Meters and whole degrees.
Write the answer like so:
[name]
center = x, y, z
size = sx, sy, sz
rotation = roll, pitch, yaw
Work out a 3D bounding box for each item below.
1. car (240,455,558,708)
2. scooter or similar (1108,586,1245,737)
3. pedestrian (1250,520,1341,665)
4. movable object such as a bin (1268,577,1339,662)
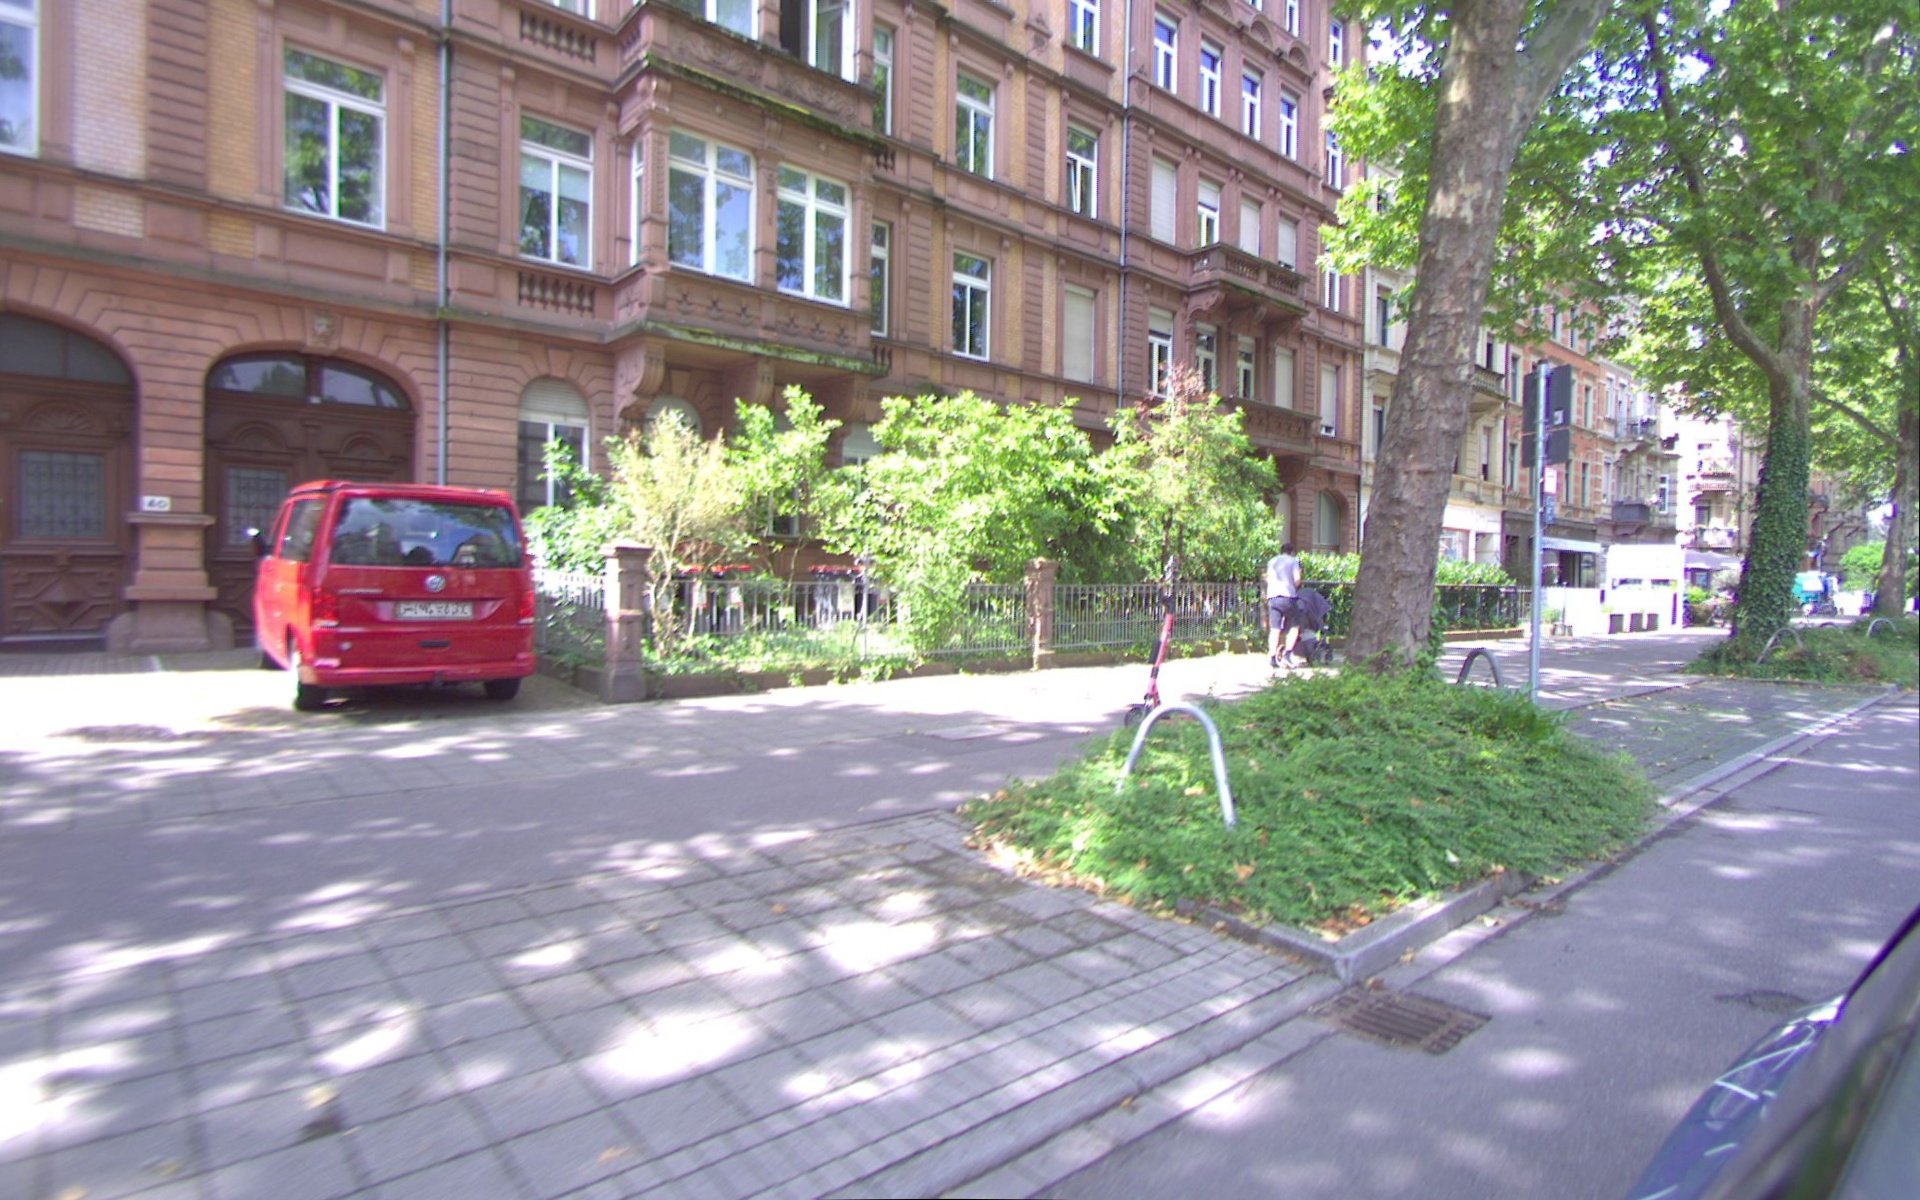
[car]
center = -5.795, -0.322, 10.139
size = 1.948, 1.962, 4.408
rotation = 0, 4, -40
[scooter or similar]
center = 1.914, 0.499, 8.865
size = 1.300, 1.226, 0.467
rotation = 0, 2, -42
[pedestrian]
center = 4.994, -0.124, 15.043
size = 0.764, 2.038, 1.102
rotation = 6, 4, 44
[movable object such as a bin]
center = 5.292, 0.276, 15.574
size = 0.607, 1.224, 1.042
rotation = 5, 4, 43
